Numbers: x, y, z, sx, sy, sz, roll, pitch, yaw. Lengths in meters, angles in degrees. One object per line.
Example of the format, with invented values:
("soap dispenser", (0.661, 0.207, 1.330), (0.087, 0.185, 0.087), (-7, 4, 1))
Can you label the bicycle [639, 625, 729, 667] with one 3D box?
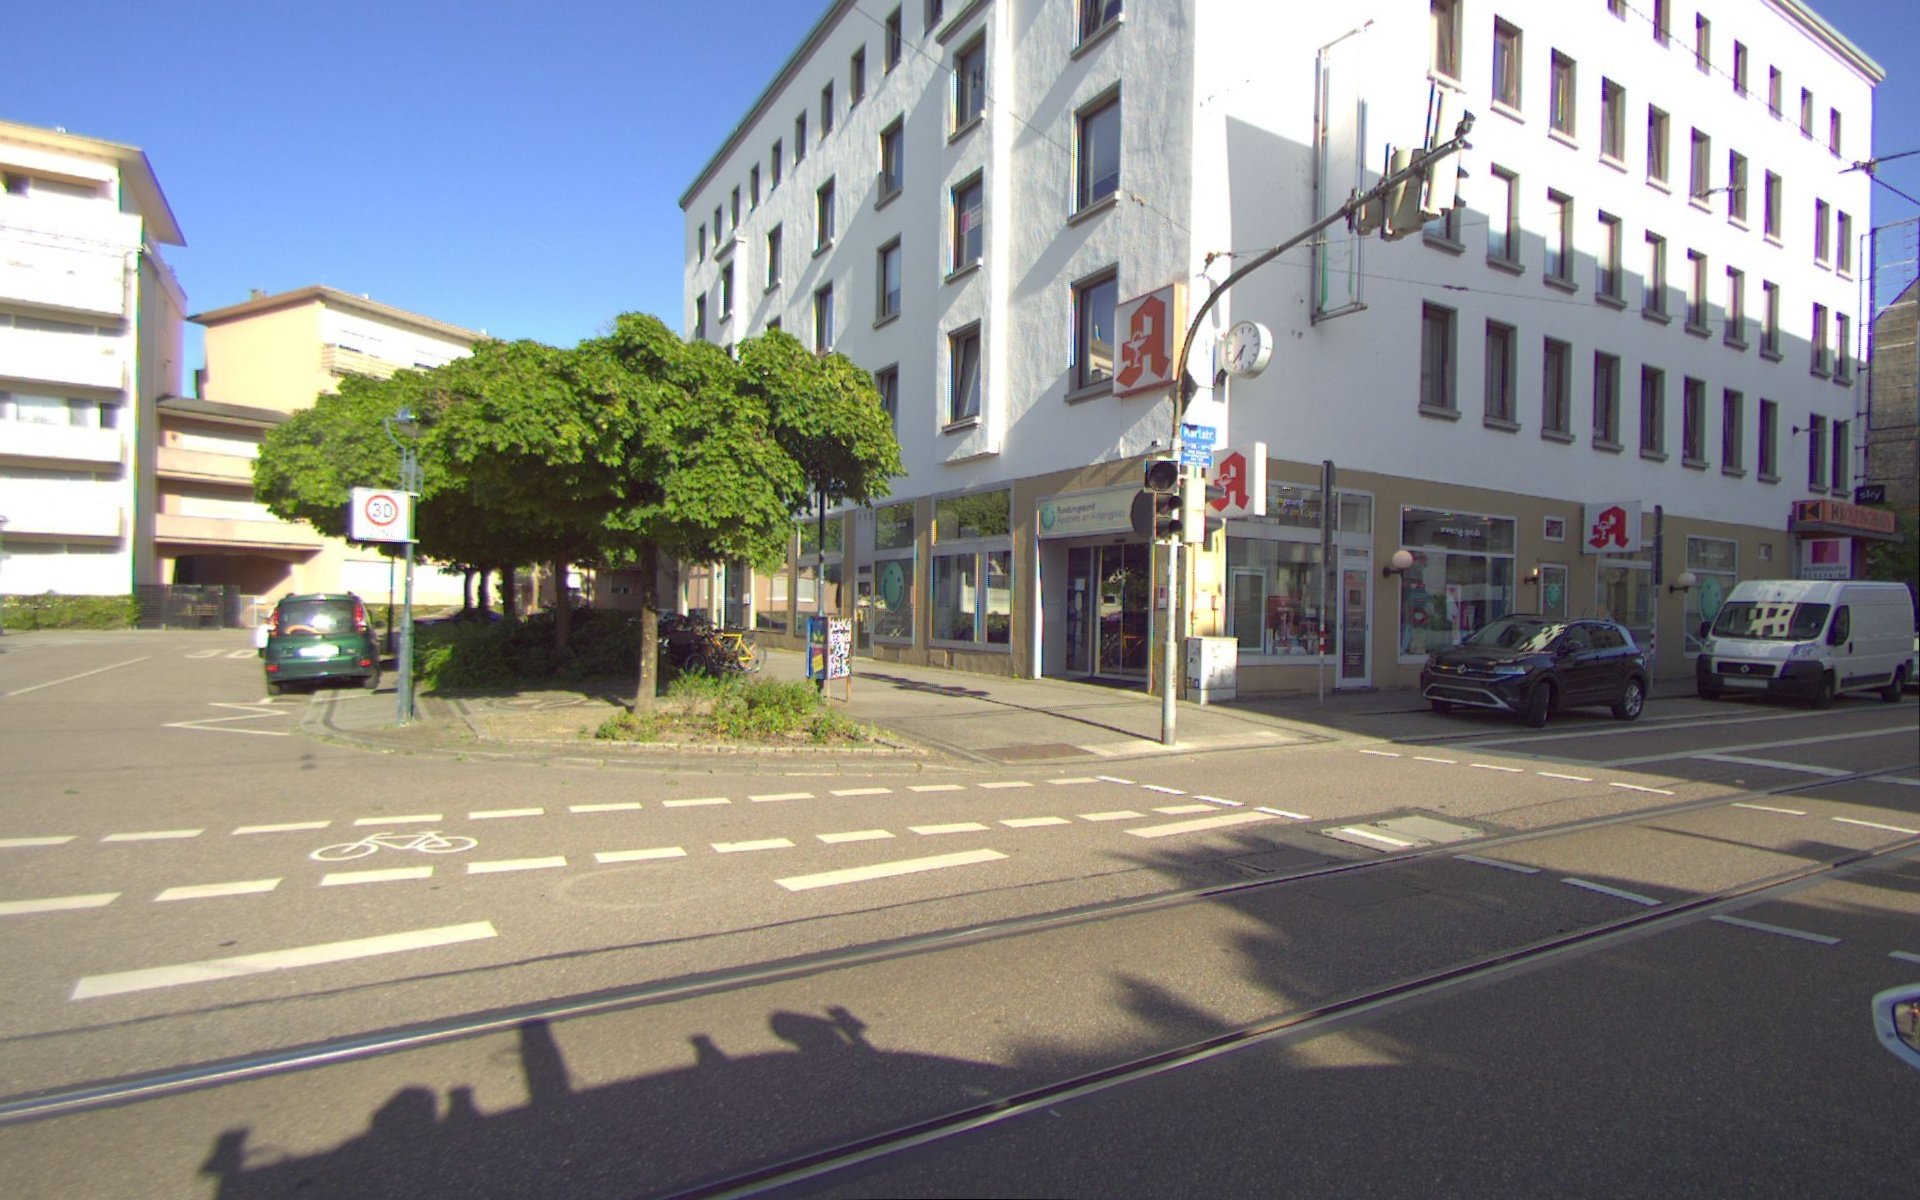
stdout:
("bicycle", (-7.225, 1.197, 26.354), (2.207, 1.063, 0.622), (2, -1, -35))

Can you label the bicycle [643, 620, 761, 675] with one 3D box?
("bicycle", (-5.606, 1.034, 21.946), (2.409, 1.140, 0.623), (2, -1, -31))

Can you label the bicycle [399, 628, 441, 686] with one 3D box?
("bicycle", (-10.743, 1.102, 19.953), (0.621, 1.026, 2.417), (1, -1, -30))

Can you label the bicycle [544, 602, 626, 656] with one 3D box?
("bicycle", (-8.508, 0.642, 22.906), (0.615, 1.140, 2.439), (1, -1, 8))

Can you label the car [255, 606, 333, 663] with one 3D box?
("car", (-18.597, 0.923, 28.179), (1.604, 1.469, 3.959), (1, -1, -31))

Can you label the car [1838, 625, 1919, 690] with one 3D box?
("car", (23.526, 1.389, 24.553), (4.392, 1.417, 1.774), (2, 1, -30))

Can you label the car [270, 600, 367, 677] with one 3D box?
("car", (-14.847, 0.834, 23.378), (1.739, 1.638, 3.959), (1, -1, -31))

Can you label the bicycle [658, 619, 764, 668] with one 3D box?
("bicycle", (-5.983, 1.037, 24.202), (2.413, 1.140, 0.622), (2, -1, -35))

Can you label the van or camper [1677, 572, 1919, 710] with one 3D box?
("van or camper", (17.598, 0.796, 20.866), (6.163, 2.500, 2.159), (1, 1, -32))

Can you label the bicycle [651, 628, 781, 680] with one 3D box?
("bicycle", (-4.953, 1.086, 20.467), (2.465, 1.000, 0.749), (2, -1, -31))

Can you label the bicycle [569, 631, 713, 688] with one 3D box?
("bicycle", (-5.950, 1.103, 18.812), (2.464, 1.000, 0.749), (2, -1, -30))

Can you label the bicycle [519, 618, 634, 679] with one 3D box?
("bicycle", (-7.755, 0.964, 20.287), (2.390, 1.140, 0.628), (1, 0, 23))

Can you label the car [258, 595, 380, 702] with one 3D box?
("car", (-11.618, 0.803, 18.407), (1.657, 1.733, 3.960), (1, -1, -30))

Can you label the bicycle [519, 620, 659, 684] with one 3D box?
("bicycle", (-7.002, 0.978, 19.029), (2.409, 1.140, 0.623), (2, -1, -31))

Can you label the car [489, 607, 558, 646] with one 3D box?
("car", (-19.265, 1.145, 44.502), (1.760, 1.606, 4.362), (1, -1, -9))

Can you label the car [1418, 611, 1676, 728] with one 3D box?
("car", (9.318, 1.037, 15.906), (3.945, 1.573, 1.774), (2, 1, -30))

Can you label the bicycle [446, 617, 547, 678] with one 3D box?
("bicycle", (-9.331, 0.921, 20.354), (0.615, 1.140, 2.439), (1, -1, 8))

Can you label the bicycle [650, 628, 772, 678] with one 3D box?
("bicycle", (-5.236, 1.102, 21.214), (2.409, 1.000, 0.623), (2, -1, -31))
